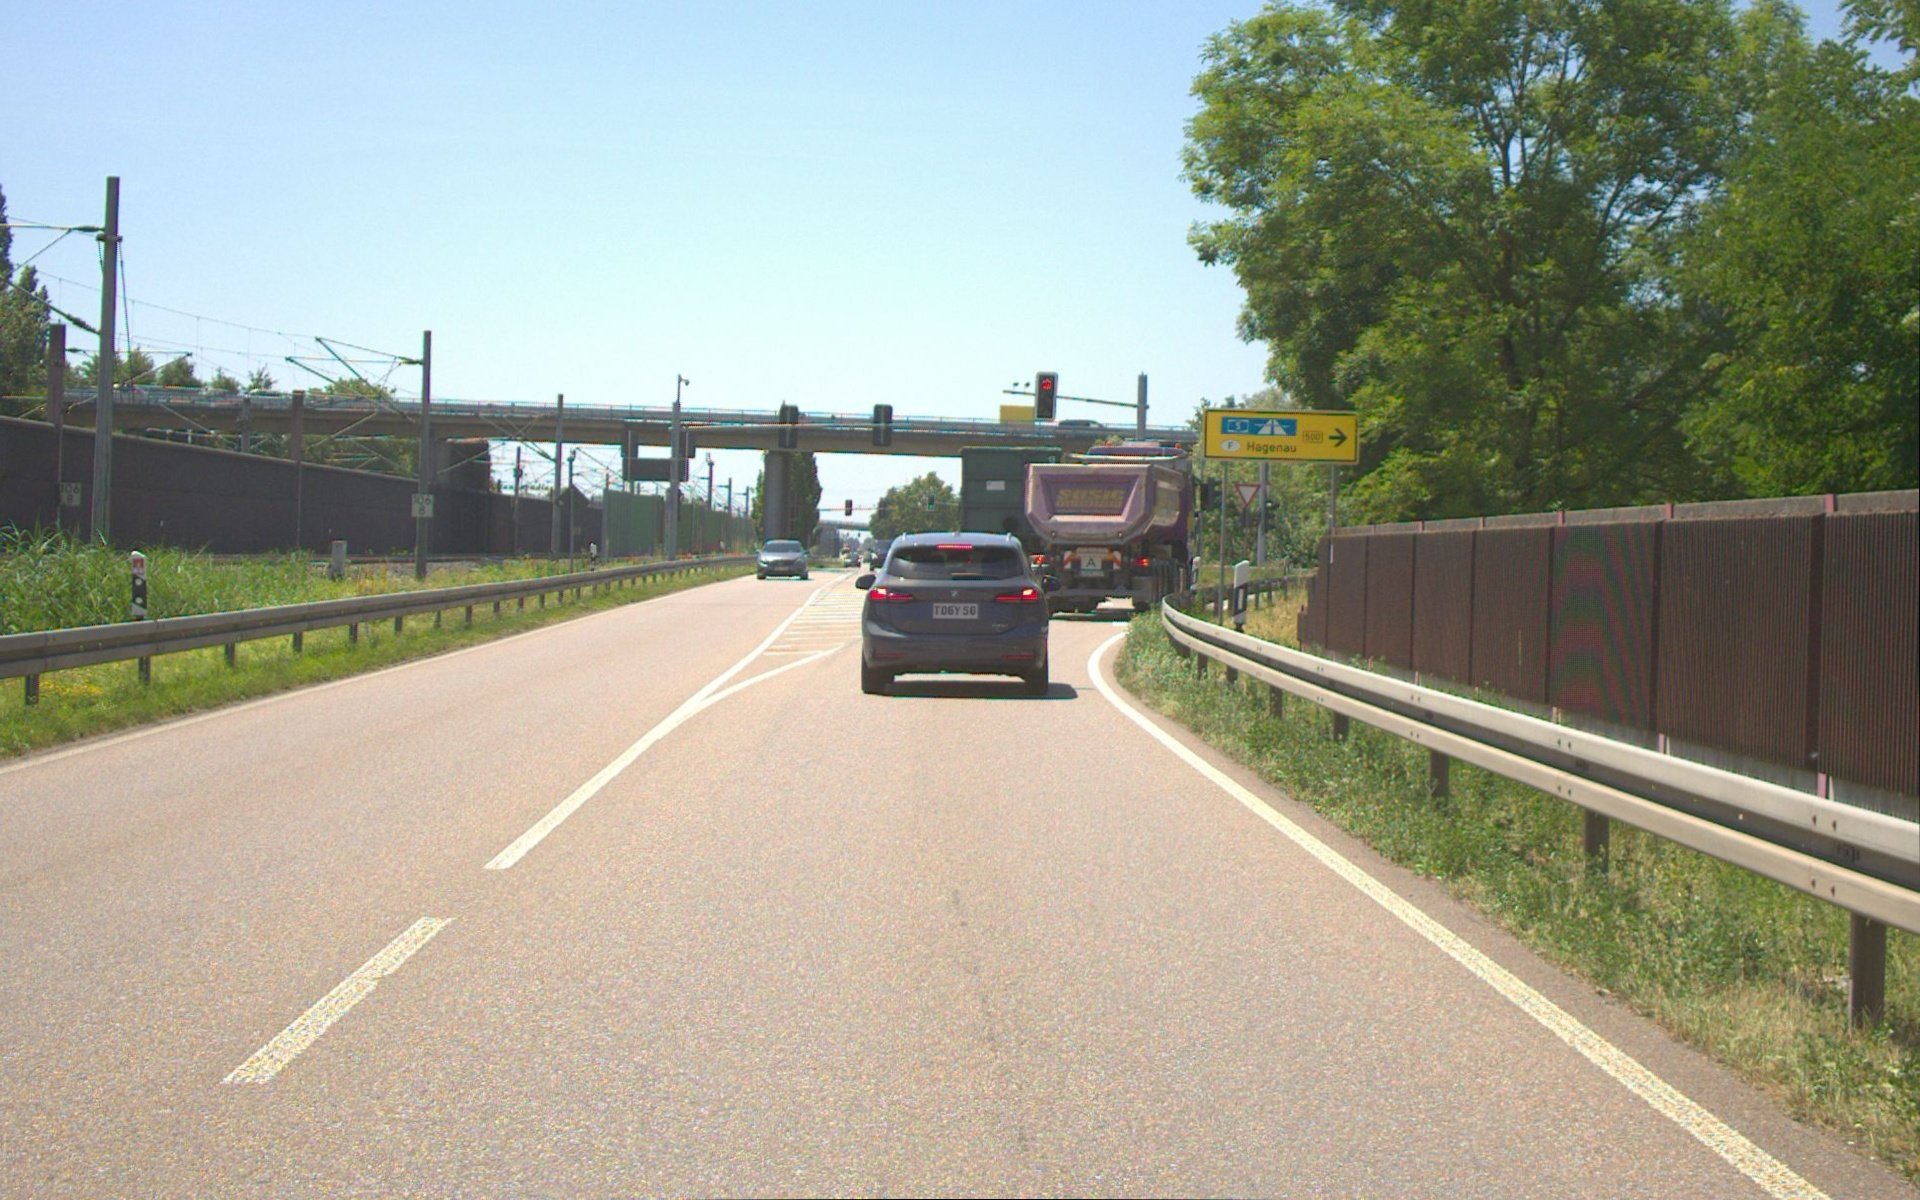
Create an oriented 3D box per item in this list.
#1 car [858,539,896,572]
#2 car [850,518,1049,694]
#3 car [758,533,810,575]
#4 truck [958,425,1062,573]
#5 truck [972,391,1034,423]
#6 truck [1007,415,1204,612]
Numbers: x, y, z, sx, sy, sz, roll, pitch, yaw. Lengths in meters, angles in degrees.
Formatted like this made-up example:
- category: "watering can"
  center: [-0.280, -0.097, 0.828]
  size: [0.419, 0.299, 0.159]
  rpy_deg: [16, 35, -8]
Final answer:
- category: "car"
  center: [-4.752, -2.563, 197.295]
  size: [1.927, 1.761, 4.598]
  rpy_deg: [2, 2, 1]
- category: "car"
  center: [-0.066, 0.018, 34.266]
  size: [1.845, 1.617, 4.226]
  rpy_deg: [1, 1, 1]
- category: "car"
  center: [-6.461, -1.696, 126.246]
  size: [1.864, 1.480, 4.888]
  rpy_deg: [1, 1, -3]
- category: "truck"
  center: [1.317, -2.686, 91.980]
  size: [2.590, 3.724, 9.575]
  rpy_deg: [1, 1, 0]
- category: "truck"
  center: [2.901, -13.015, 231.640]
  size: [3.988, 2.007, 2.000]
  rpy_deg: [1, 1, 5]
- category: "truck"
  center: [3.248, -1.784, 72.868]
  size: [2.834, 3.808, 11.881]
  rpy_deg: [1, 1, 9]
